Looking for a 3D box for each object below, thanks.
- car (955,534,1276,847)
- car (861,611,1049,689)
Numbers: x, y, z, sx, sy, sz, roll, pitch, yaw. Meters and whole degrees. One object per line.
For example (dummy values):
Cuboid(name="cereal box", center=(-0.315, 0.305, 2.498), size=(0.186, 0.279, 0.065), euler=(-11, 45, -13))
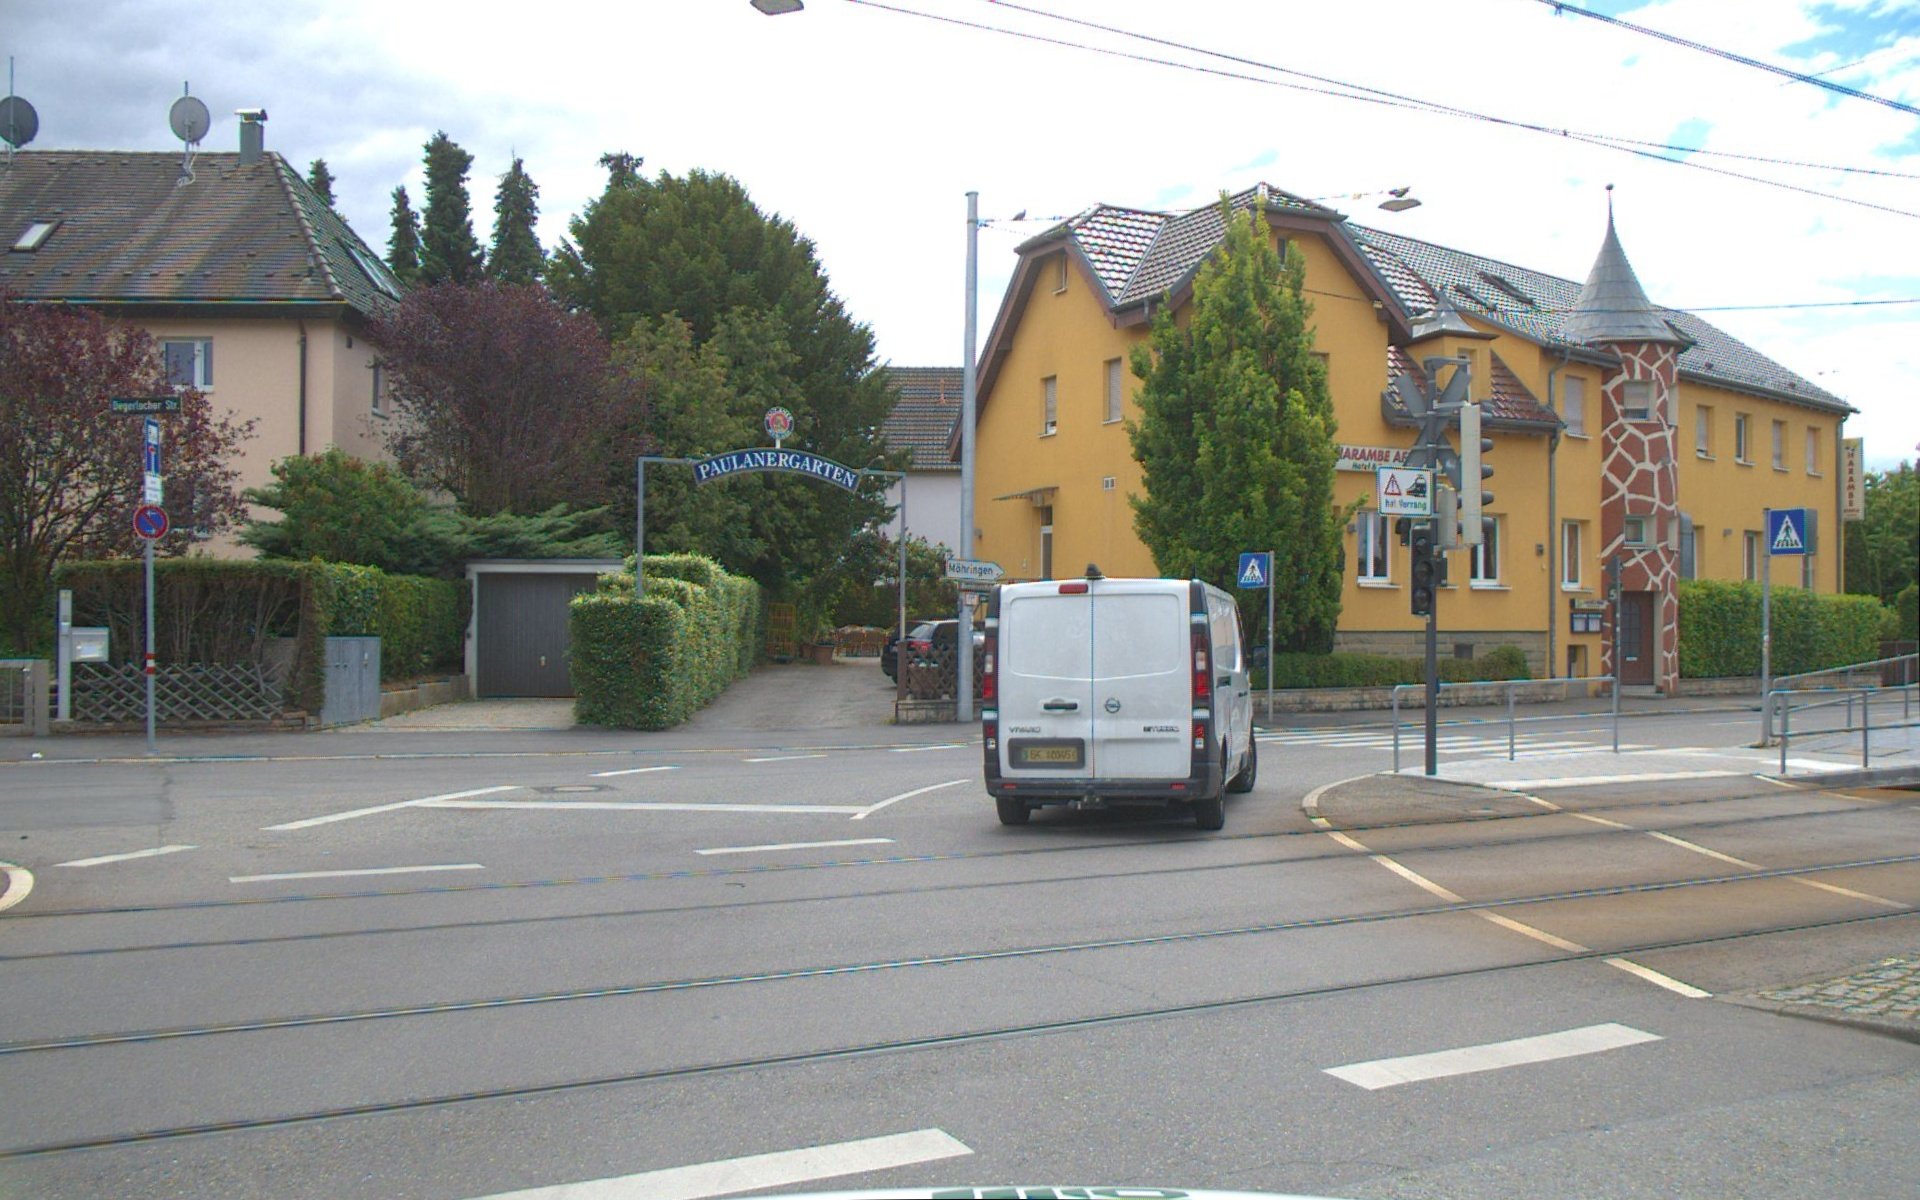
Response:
Cuboid(name="car", center=(1.596, 0.647, 14.431), size=(2.072, 2.171, 5.445), euler=(1, 0, 13))
Cuboid(name="car", center=(-0.089, 1.006, 34.791), size=(3.635, 1.452, 1.707), euler=(-1, 2, -34))
